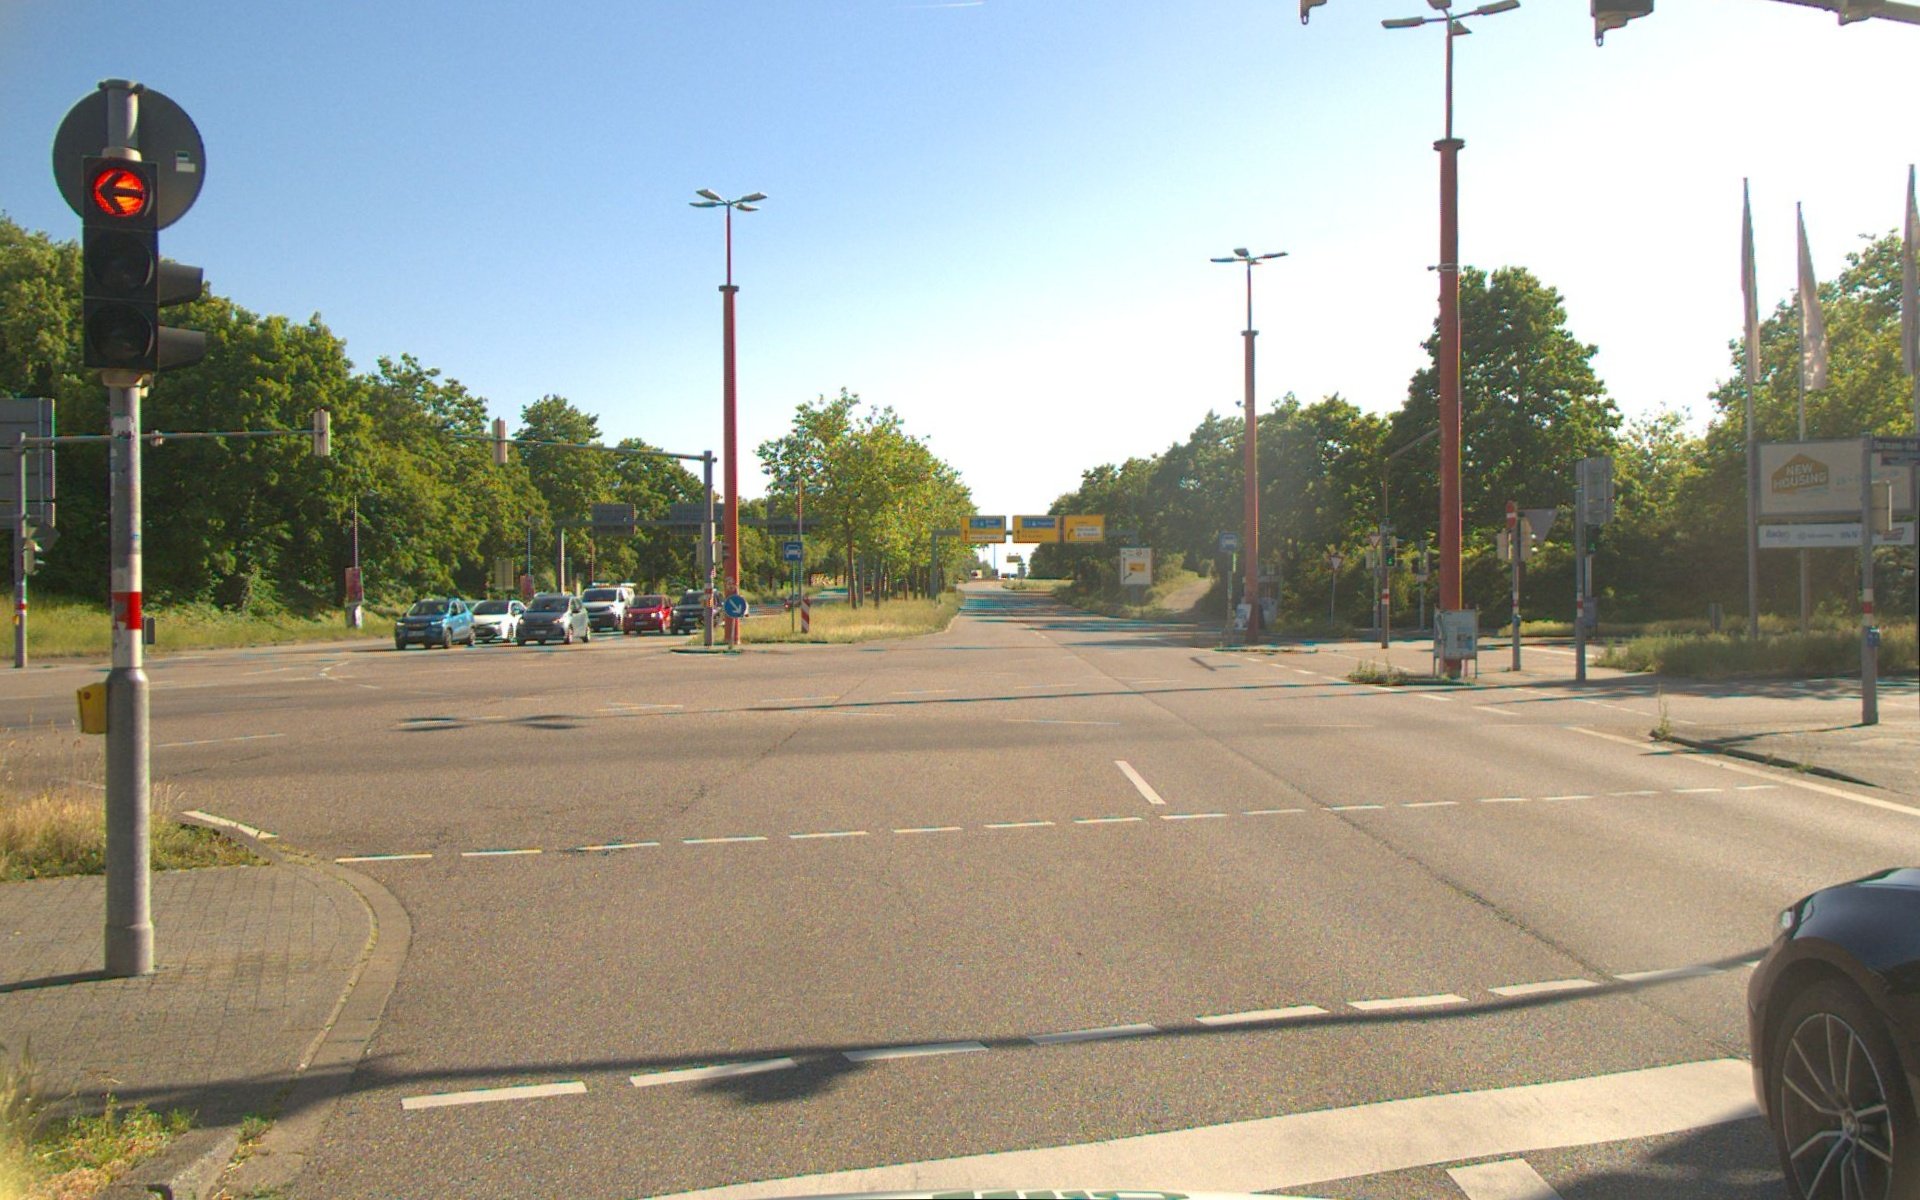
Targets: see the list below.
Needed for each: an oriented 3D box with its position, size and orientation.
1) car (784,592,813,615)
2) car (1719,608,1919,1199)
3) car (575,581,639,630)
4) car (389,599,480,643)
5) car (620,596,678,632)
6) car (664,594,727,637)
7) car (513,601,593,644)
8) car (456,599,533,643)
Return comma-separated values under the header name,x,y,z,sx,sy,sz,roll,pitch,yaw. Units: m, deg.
name,x,y,z,sx,sy,sz,roll,pitch,yaw
car,-11.698,0.257,119.910,1.782,1.657,3.999,0,0,-1
car,2.907,0.737,2.135,1.831,1.422,4.443,0,0,0
car,-15.424,0.245,72.494,1.855,2.061,5.221,0,0,-2
car,-16.053,0.614,50.672,1.704,1.265,3.611,0,0,-2
car,-12.276,0.531,65.448,1.704,1.386,3.611,0,0,-2
car,-9.857,0.544,61.847,1.782,1.534,3.999,0,0,-1
car,-12.671,0.672,51.694,1.704,1.265,3.611,0,0,-2
car,-15.929,0.704,56.789,1.704,1.436,3.611,0,0,-2
